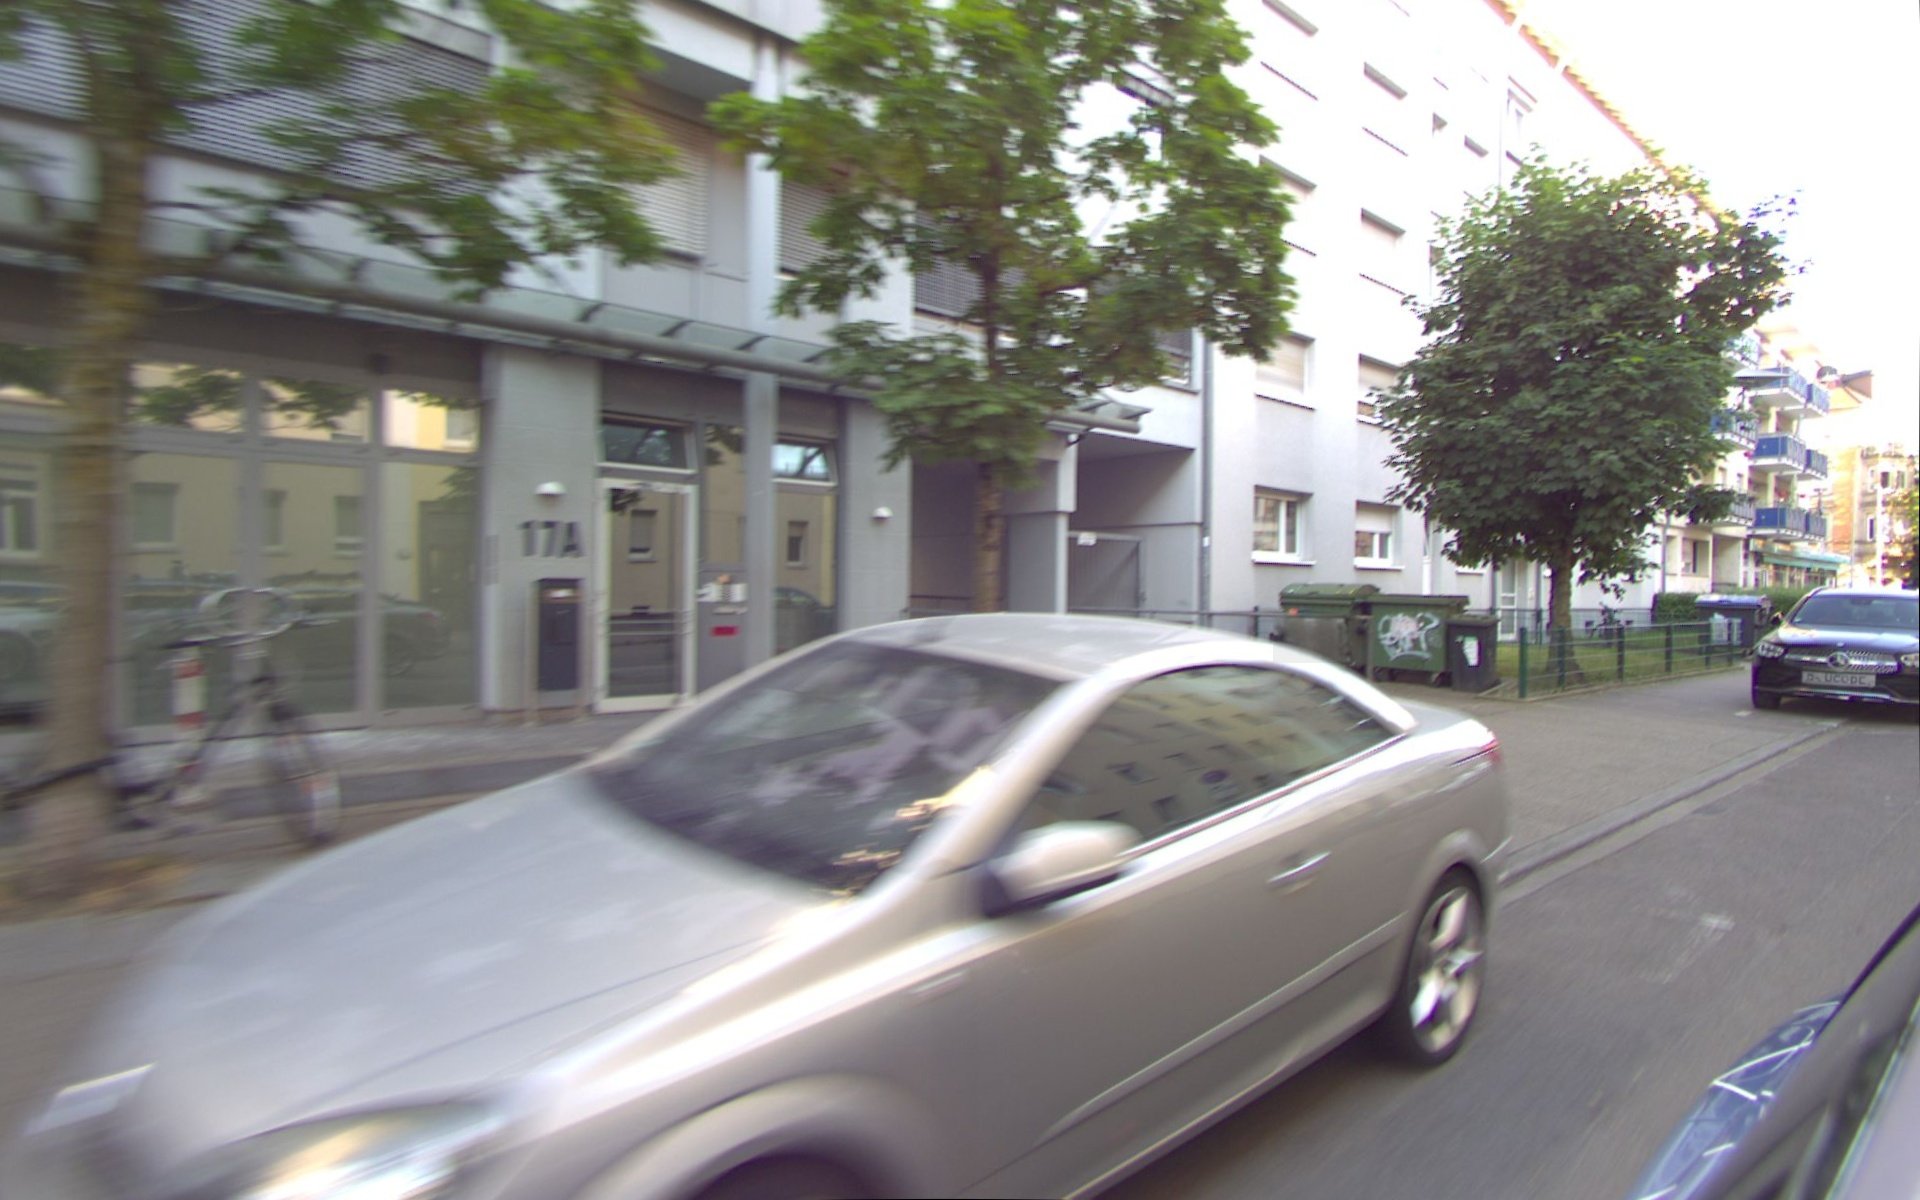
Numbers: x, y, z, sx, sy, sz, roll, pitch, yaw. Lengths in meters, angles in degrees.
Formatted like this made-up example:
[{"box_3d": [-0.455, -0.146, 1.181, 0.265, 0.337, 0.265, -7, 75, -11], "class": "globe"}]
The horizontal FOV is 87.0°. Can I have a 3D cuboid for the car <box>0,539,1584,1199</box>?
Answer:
[{"box_3d": [0.075, 0.620, 2.981, 4.269, 1.446, 1.767, 0, 3, -41], "class": "car"}]

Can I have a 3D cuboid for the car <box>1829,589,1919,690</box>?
[{"box_3d": [15.929, 0.608, 16.840, 3.588, 1.501, 1.680, 0, 2, -41], "class": "car"}]

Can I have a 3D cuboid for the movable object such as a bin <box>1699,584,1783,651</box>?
[{"box_3d": [18.044, 0.387, 23.377, 1.202, 1.454, 1.287, 0, 2, -41], "class": "movable object such as a bin"}]

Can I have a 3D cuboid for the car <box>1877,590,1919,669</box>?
[{"box_3d": [20.143, 0.590, 20.521, 3.585, 1.501, 1.681, 0, 2, -38], "class": "car"}]

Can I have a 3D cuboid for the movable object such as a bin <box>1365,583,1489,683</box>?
[{"box_3d": [6.802, 0.445, 14.748, 1.119, 1.337, 1.264, 0, 2, -41], "class": "movable object such as a bin"}]

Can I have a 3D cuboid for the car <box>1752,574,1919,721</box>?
[{"box_3d": [12.376, 0.529, 13.656, 4.642, 1.655, 1.874, 0, 3, -43], "class": "car"}]

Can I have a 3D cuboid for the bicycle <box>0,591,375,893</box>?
[{"box_3d": [-3.705, 0.567, 4.622, 0.519, 1.183, 1.716, 3, 2, 39], "class": "bicycle"}]

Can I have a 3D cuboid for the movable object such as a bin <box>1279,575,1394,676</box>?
[{"box_3d": [5.795, 0.363, 15.600, 1.119, 1.454, 1.264, 0, 2, -41], "class": "movable object such as a bin"}]

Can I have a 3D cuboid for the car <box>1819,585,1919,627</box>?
[{"box_3d": [38.611, 0.237, 42.205, 1.966, 1.584, 3.993, 0, 3, -42], "class": "car"}]

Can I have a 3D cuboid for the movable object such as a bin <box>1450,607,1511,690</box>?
[{"box_3d": [7.109, 0.645, 13.818, 0.614, 1.084, 0.529, 0, 2, -41], "class": "movable object such as a bin"}]

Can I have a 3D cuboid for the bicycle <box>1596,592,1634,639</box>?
[{"box_3d": [16.320, 0.368, 25.198, 0.599, 1.104, 1.716, 3, 2, 39], "class": "bicycle"}]
